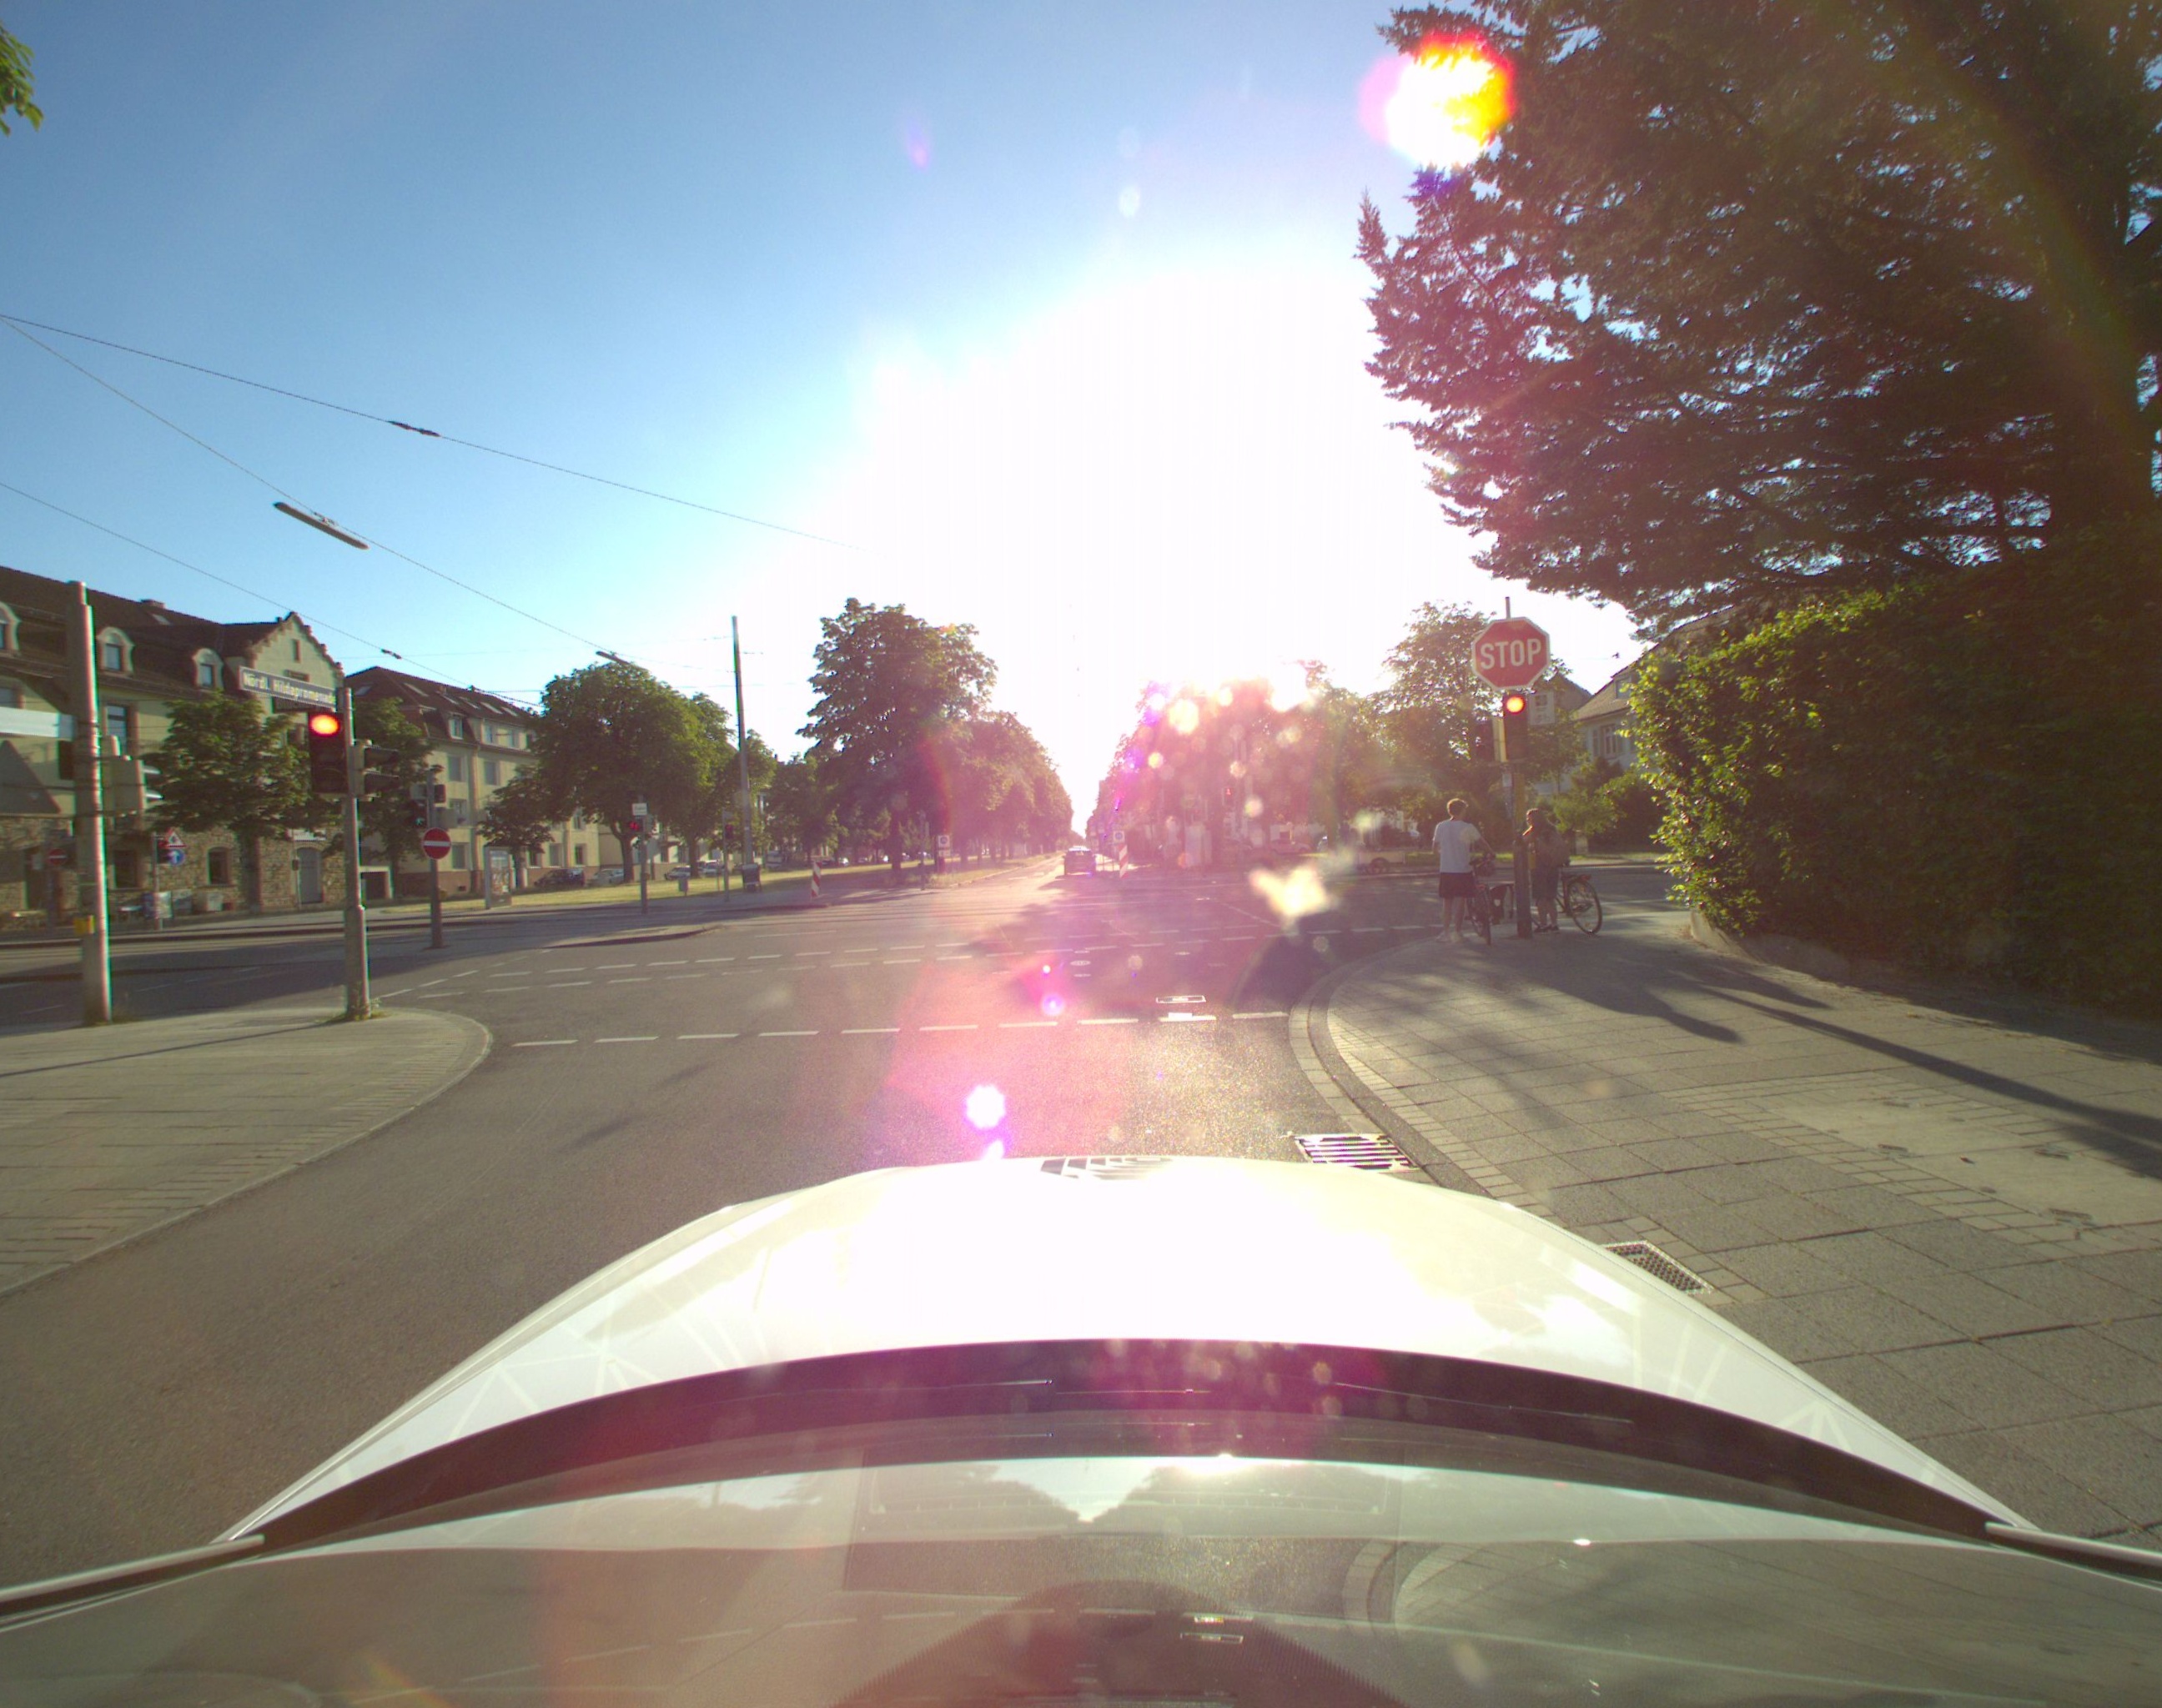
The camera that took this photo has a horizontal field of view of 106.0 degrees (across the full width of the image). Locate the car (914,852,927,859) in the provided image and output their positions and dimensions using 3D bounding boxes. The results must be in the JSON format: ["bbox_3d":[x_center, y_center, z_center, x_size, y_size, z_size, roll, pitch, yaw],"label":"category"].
[{"bbox_3d":[-37.082,0.355,188.306,1.987,1.658,4.570,-2,0,0],"label":"car"}]

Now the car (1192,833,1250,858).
[{"bbox_3d":[11.219,-0.649,65.454,4.228,1.875,2.030,-2,-1,-1],"label":"car"}]

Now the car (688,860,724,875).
[{"bbox_3d":[-43.359,1.585,94.319,1.986,1.659,4.572,0,-1,2],"label":"car"}]

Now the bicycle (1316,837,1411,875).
[{"bbox_3d":[10.024,0.081,29.012,3.053,1.161,0.878,-3,-1,12],"label":"bicycle"}]

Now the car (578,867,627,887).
[{"bbox_3d":[-43.048,2.062,73.335,1.986,1.659,4.001,0,-1,2],"label":"car"}]

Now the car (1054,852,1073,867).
[{"bbox_3d":[-1.669,0.553,78.494,1.704,1.359,4.202,0,0,0],"label":"car"}]

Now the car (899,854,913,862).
[{"bbox_3d":[-36.309,0.891,168.672,2.016,1.659,3.984,0,-1,1],"label":"car"}]

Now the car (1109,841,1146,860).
[{"bbox_3d":[5.351,-0.425,93.652,3.980,1.822,1.757,-3,-5,-5],"label":"car"}]

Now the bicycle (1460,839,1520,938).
[{"bbox_3d":[5.312,0.394,10.644,0.567,1.184,1.916,-1,1,23],"label":"bicycle"}]

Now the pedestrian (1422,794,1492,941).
[{"bbox_3d":[5.030,0.169,10.947,0.622,1.866,0.778,-6,-1,20],"label":"pedestrian"}]

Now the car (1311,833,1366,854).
[{"bbox_3d":[20.730,-0.839,65.652,3.915,1.524,1.521,-1,-1,-5],"label":"car"}]

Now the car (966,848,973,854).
[{"bbox_3d":[-34.839,-0.930,255.135,1.649,1.938,3.566,0,-2,-1],"label":"car"}]

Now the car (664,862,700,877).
[{"bbox_3d":[-42.844,1.655,87.526,1.709,1.633,4.192,0,-1,2],"label":"car"}]

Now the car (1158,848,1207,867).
[{"bbox_3d":[8.797,0.311,70.521,3.975,1.447,1.715,-2,-1,-1],"label":"car"}]

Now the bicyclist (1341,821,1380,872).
[{"bbox_3d":[9.933,-0.271,29.025,1.137,1.723,0.878,-3,-1,12],"label":"bicyclist"}]

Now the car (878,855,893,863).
[{"bbox_3d":[-41.725,0.986,173.936,1.986,1.659,4.357,0,-1,2],"label":"car"}]

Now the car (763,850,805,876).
[{"bbox_3d":[-37.162,1.112,102.118,2.384,3.131,7.853,0,0,0],"label":"car"}]

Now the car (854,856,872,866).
[{"bbox_3d":[-36.911,1.204,137.923,1.805,1.781,4.123,0,-1,1],"label":"car"}]

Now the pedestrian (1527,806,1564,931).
[{"bbox_3d":[6.045,0.186,10.603,0.346,1.585,0.465,-1,-1,23],"label":"pedestrian"}]

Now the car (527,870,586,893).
[{"bbox_3d":[-43.256,2.235,67.245,1.986,1.736,4.313,0,-1,2],"label":"car"}]

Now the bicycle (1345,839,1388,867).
[{"bbox_3d":[11.470,-0.043,32.747,1.513,1.089,0.468,-2,0,9],"label":"bicycle"}]

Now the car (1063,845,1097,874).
[{"bbox_3d":[0.013,0.321,44.773,1.719,1.511,4.542,0,0,2],"label":"car"}]

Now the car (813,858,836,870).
[{"bbox_3d":[-37.104,1.434,117.731,1.873,1.674,4.315,0,0,1],"label":"car"}]

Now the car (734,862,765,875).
[{"bbox_3d":[-42.207,1.826,103.867,1.986,1.659,4.572,0,-1,2],"label":"car"}]

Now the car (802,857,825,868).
[{"bbox_3d":[-42.004,1.327,127.834,1.986,1.659,4.376,0,-1,2],"label":"car"}]

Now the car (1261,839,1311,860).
[{"bbox_3d":[16.388,-0.332,65.127,3.548,1.516,1.602,-2,0,-6],"label":"car"}]

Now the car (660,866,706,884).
[{"bbox_3d":[-37.408,1.951,76.714,1.986,1.659,4.572,0,-1,2],"label":"car"}]

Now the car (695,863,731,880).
[{"bbox_3d":[-37.218,1.780,82.489,1.791,1.554,4.417,0,1,-2],"label":"car"}]
